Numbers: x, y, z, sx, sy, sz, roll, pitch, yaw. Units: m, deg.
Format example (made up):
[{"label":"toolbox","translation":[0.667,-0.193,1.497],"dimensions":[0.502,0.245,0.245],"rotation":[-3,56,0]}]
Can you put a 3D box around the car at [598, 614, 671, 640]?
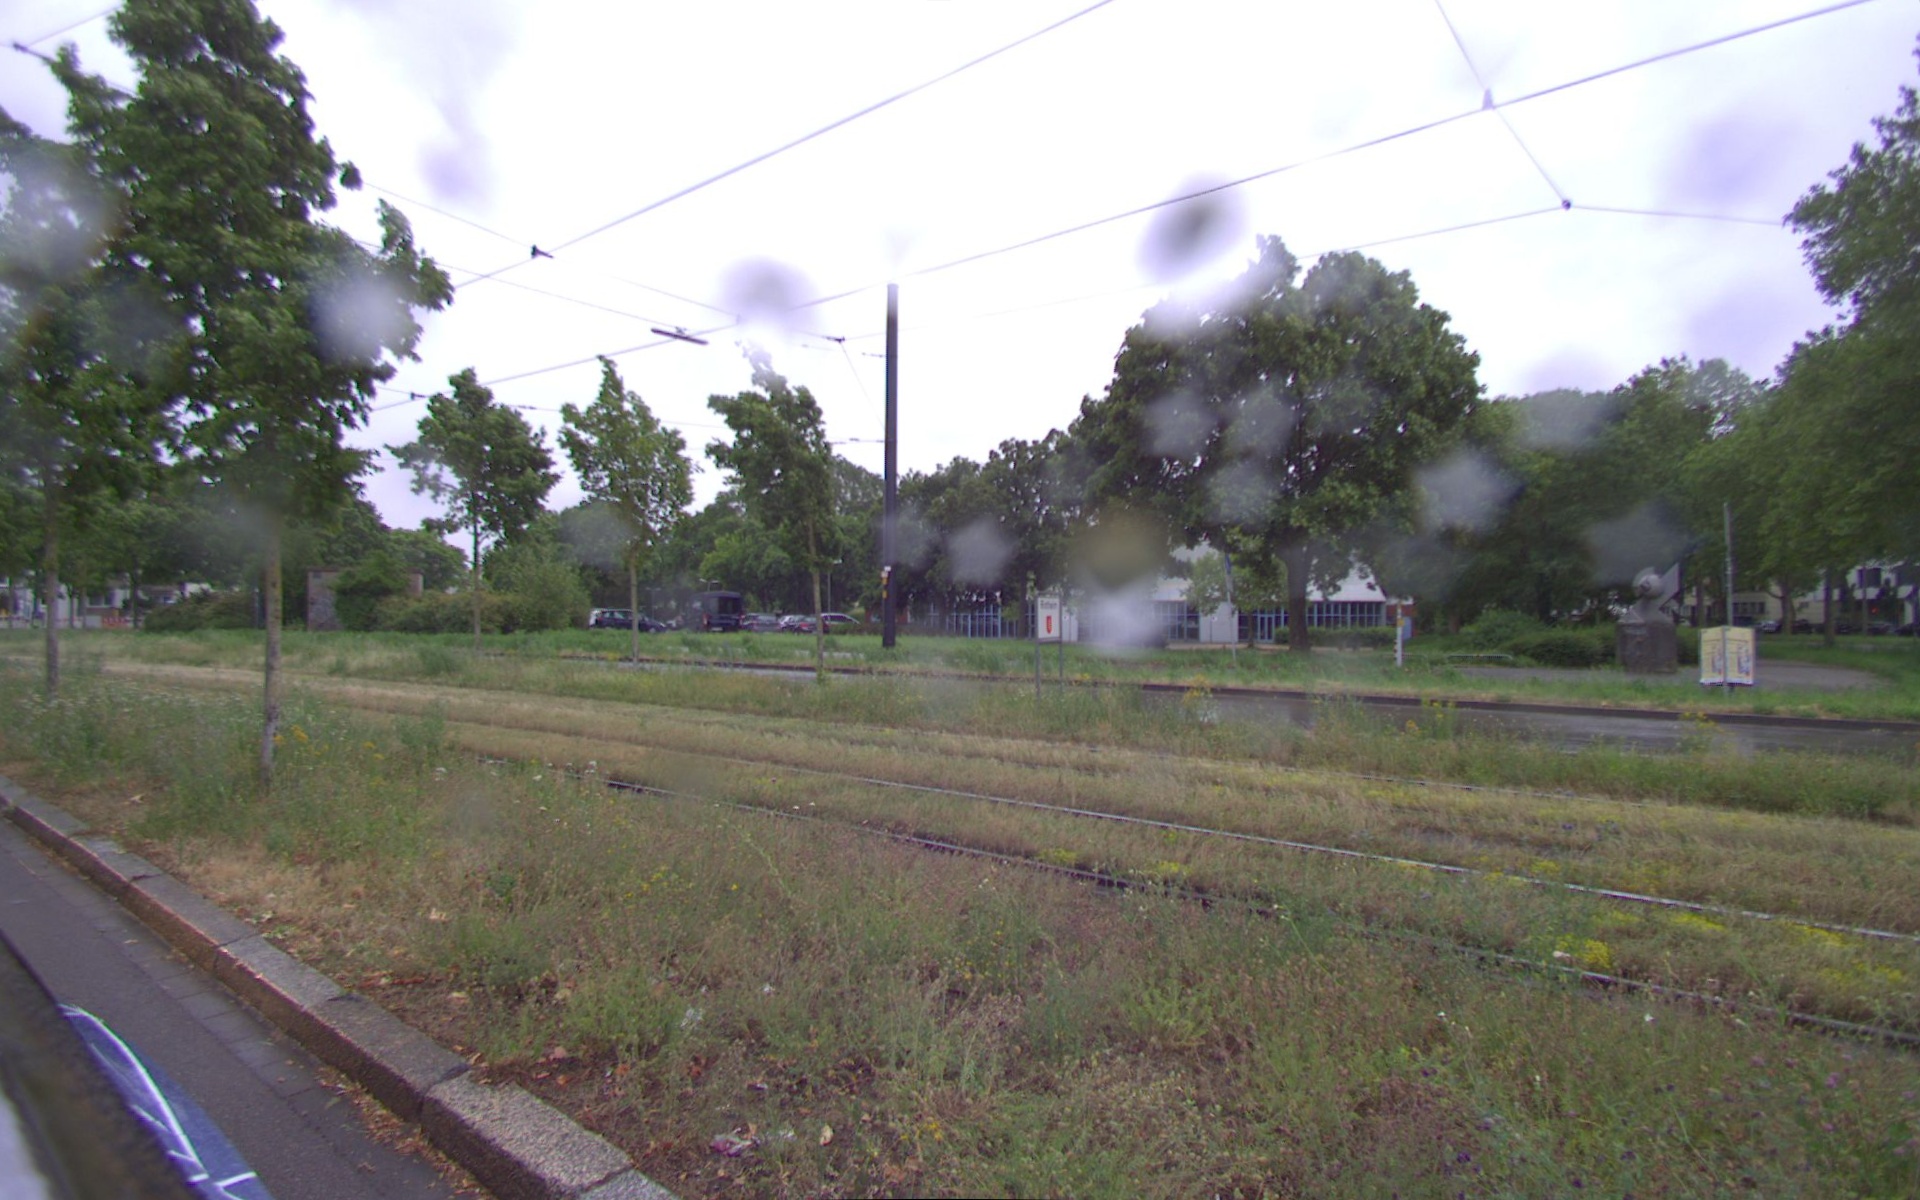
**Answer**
[{"label":"car","translation":[-19.967,1.644,62.087],"dimensions":[4.110,1.494,1.789],"rotation":[-1,0,-23]}]

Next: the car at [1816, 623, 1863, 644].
[{"label":"car","translation":[81.673,3.110,94.050],"dimensions":[1.986,1.796,3.972],"rotation":[-1,0,21]}]

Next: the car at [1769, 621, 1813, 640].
[{"label":"car","translation":[82.994,3.031,101.147],"dimensions":[1.982,1.796,3.979],"rotation":[-1,0,16]}]

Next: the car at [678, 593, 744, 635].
[{"label":"car","translation":[-12.819,0.707,51.934],"dimensions":[2.273,2.029,5.134],"rotation":[-1,0,-25]}]

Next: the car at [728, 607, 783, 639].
[{"label":"car","translation":[-10.901,1.182,53.707],"dimensions":[1.726,1.542,4.865],"rotation":[-1,0,-25]}]

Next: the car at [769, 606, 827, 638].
[{"label":"car","translation":[-8.772,1.155,54.408],"dimensions":[2.026,1.584,5.032],"rotation":[-1,0,-21]}]

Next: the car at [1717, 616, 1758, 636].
[{"label":"car","translation":[86.332,2.840,112.398],"dimensions":[2.108,2.104,3.982],"rotation":[-1,0,14]}]
